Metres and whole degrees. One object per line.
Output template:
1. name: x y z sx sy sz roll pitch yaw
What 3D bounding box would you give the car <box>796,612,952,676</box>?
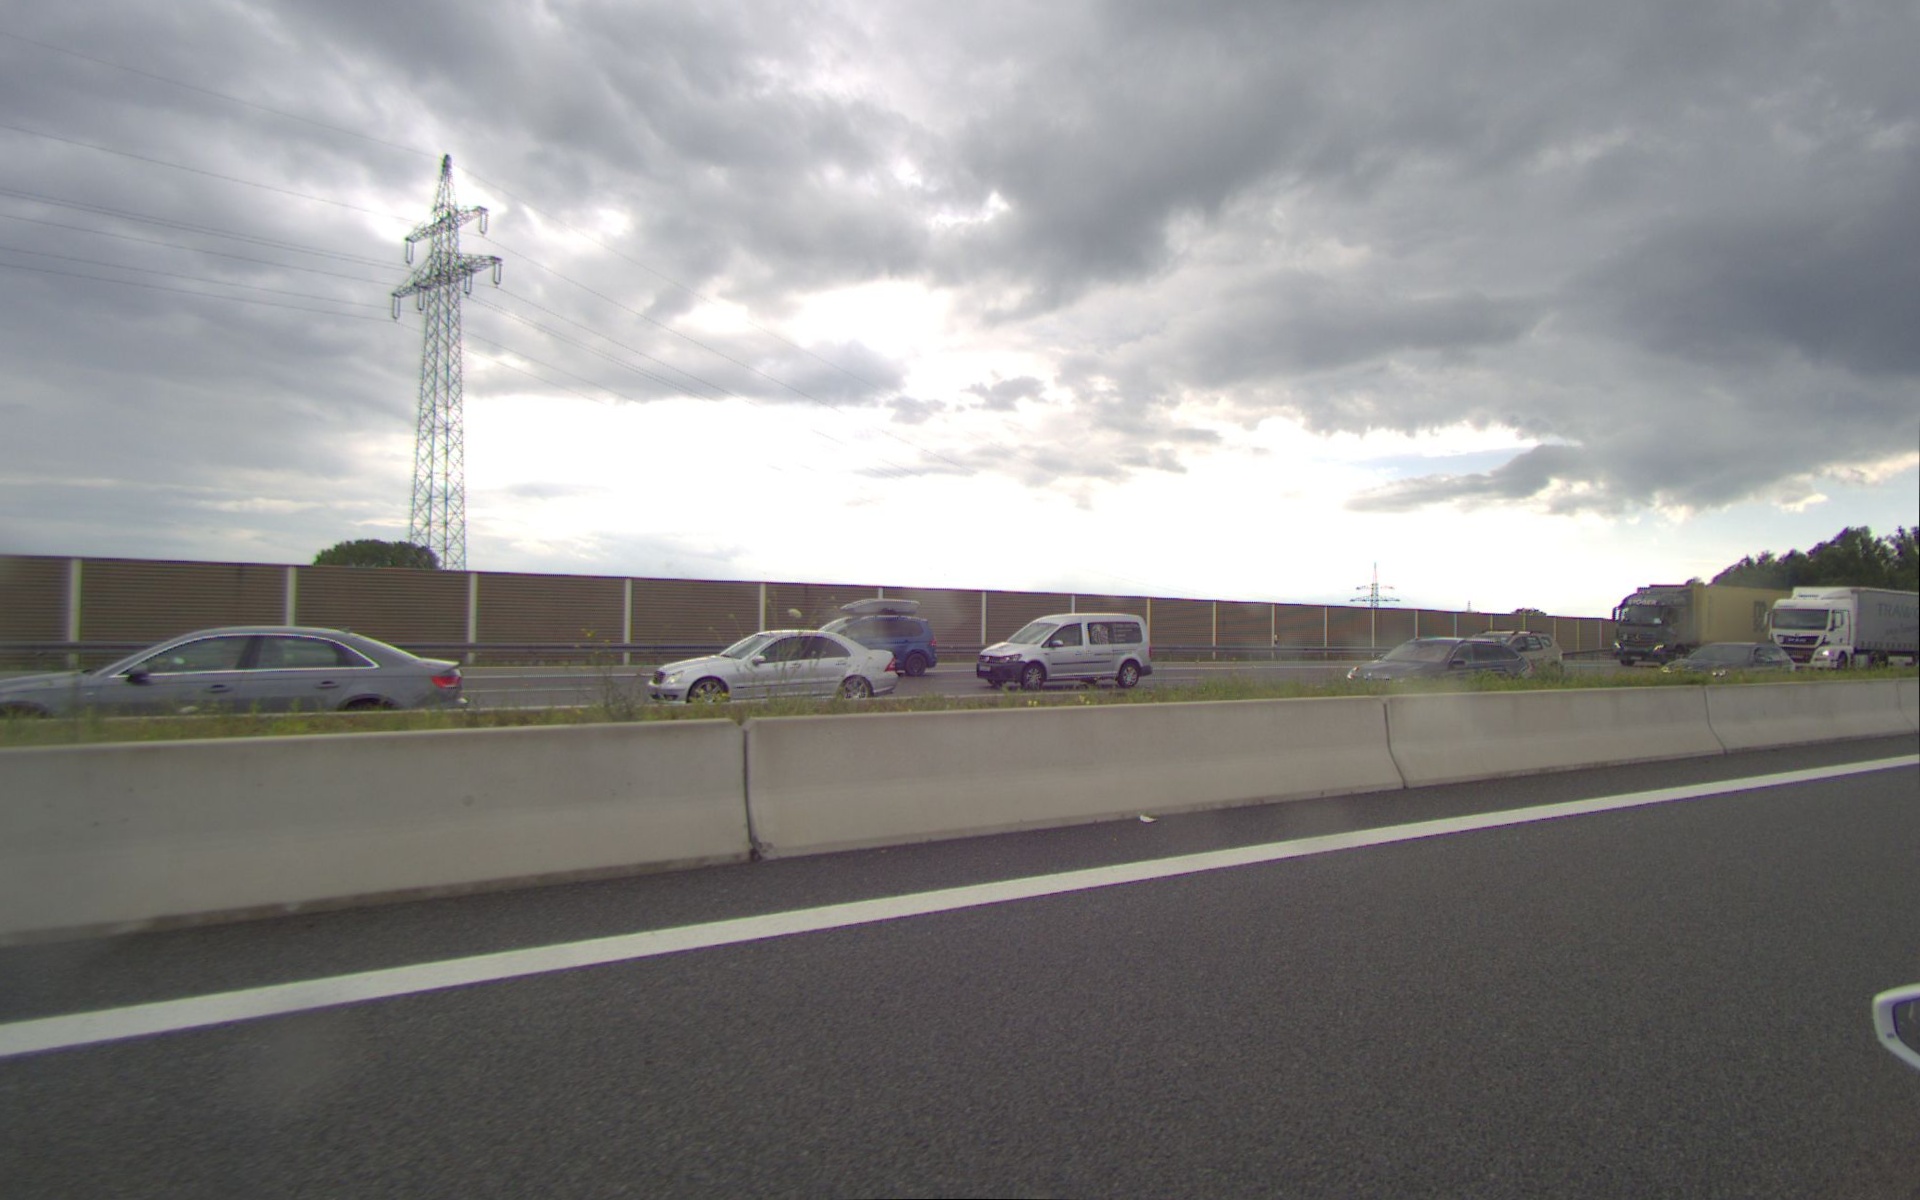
1. car: -2.355 1.182 27.685 3.911 1.619 1.778 1 0 -31

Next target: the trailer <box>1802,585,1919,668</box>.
1. trailer: 49.312 1.415 52.941 14.129 4.014 2.872 2 0 -30

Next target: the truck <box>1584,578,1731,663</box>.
1. truck: 34.744 1.075 49.988 7.618 3.985 3.016 2 -1 -30

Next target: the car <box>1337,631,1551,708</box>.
1. car: 10.352 1.422 21.388 4.806 1.400 1.778 2 0 -31

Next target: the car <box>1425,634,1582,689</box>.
1. car: 15.556 1.713 28.688 4.806 1.400 1.778 2 0 -31

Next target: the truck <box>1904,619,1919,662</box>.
1. truck: 66.903 2.763 67.667 7.740 2.851 2.679 2 -1 -30

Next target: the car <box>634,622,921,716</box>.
1. car: -3.214 1.179 18.124 4.806 1.445 1.707 2 0 -31

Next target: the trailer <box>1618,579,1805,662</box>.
1. trailer: 39.687 1.194 52.815 12.819 3.985 3.016 2 -1 -30

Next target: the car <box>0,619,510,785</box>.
1. car: -7.583 0.987 10.832 4.806 1.445 1.707 2 0 -31

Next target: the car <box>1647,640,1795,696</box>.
1. car: 21.536 1.877 28.393 4.537 1.400 1.778 2 0 -31

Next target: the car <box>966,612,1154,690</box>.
1. car: 2.536 1.241 25.166 4.526 1.763 1.781 1 0 -31

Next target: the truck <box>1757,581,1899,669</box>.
1. truck: 42.222 1.199 48.809 7.446 4.014 2.872 1 0 -30
